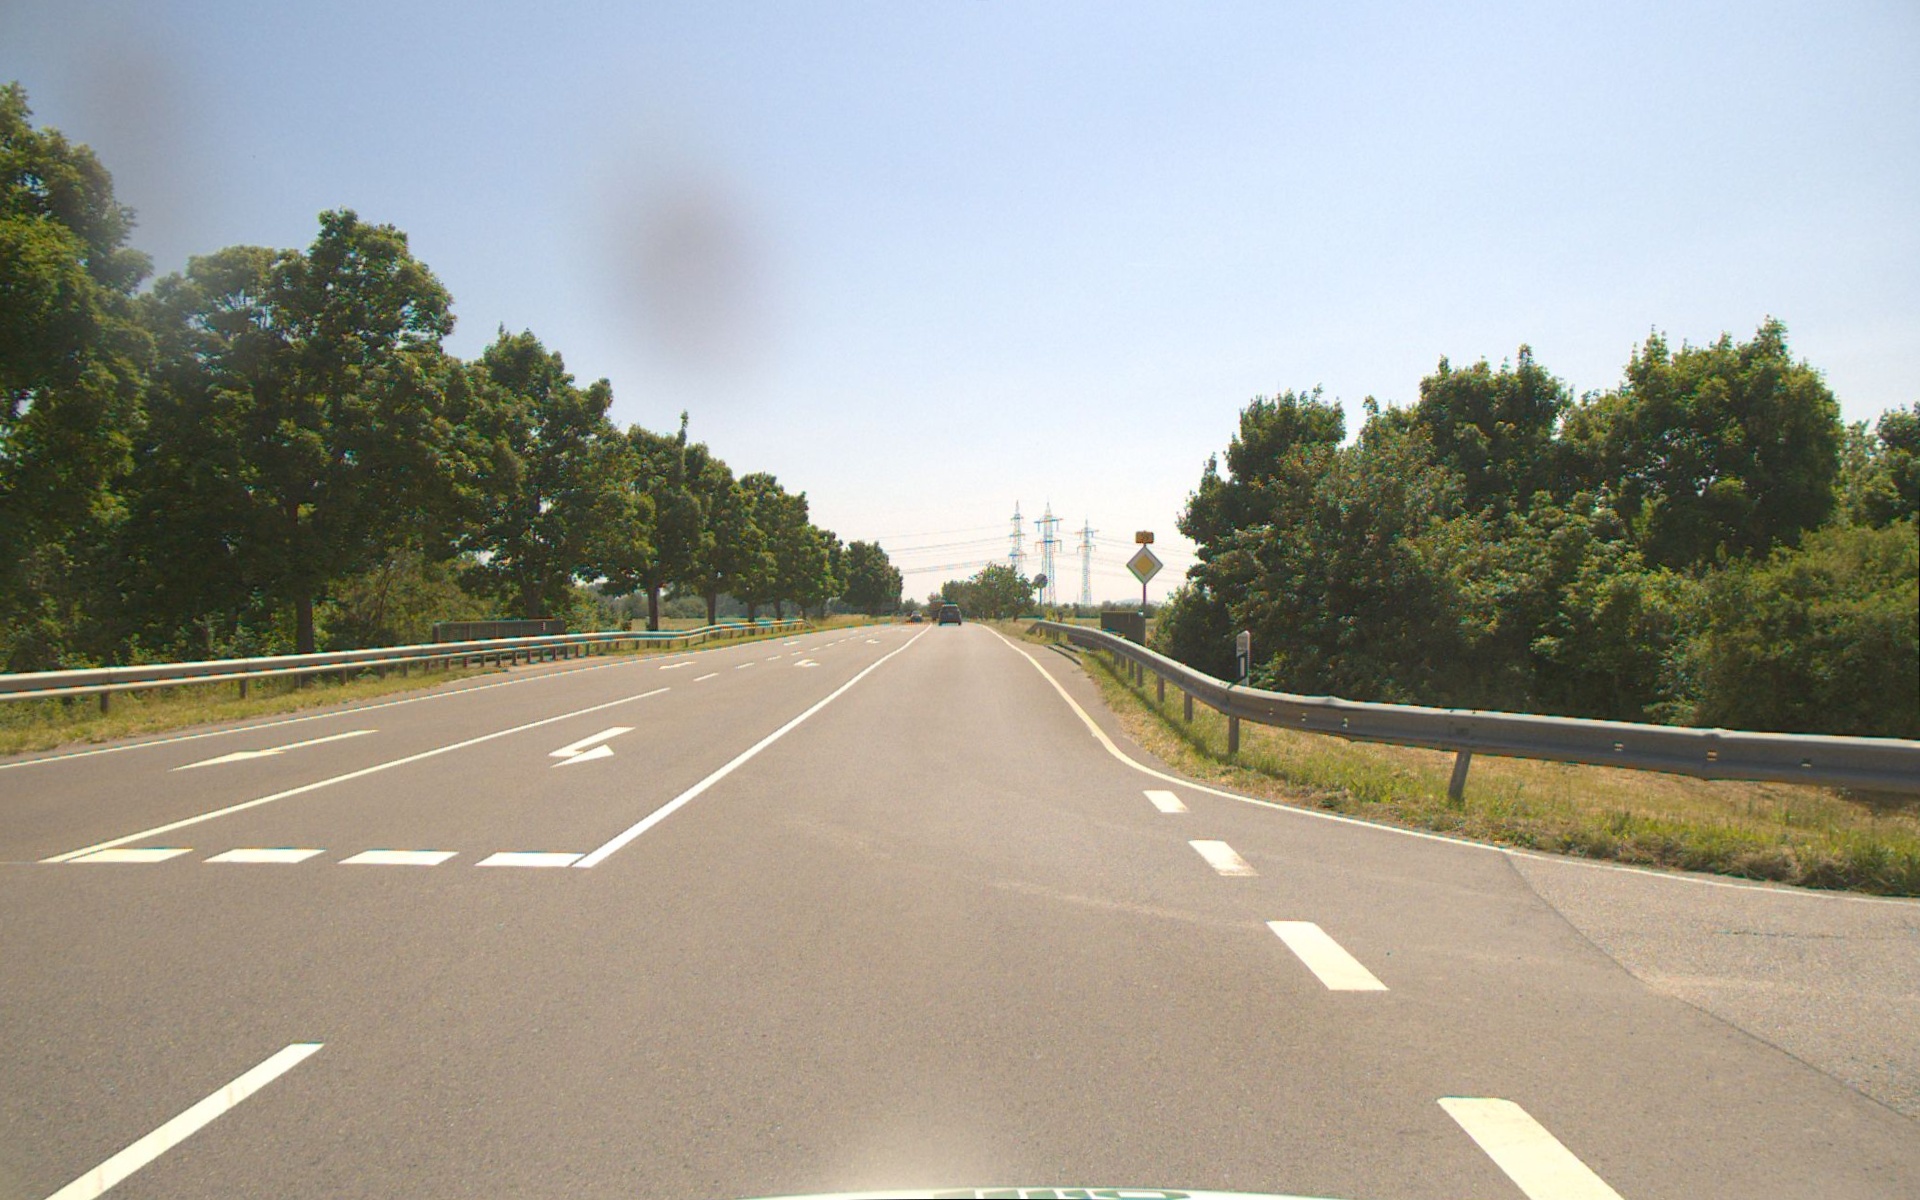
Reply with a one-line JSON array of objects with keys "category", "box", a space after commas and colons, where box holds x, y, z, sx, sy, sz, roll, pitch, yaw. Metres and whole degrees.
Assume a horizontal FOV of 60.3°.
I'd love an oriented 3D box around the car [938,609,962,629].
[{"category": "car", "box": [-0.834, 1.540, 137.002, 1.847, 1.544, 4.038, 2, -1, -2]}]
